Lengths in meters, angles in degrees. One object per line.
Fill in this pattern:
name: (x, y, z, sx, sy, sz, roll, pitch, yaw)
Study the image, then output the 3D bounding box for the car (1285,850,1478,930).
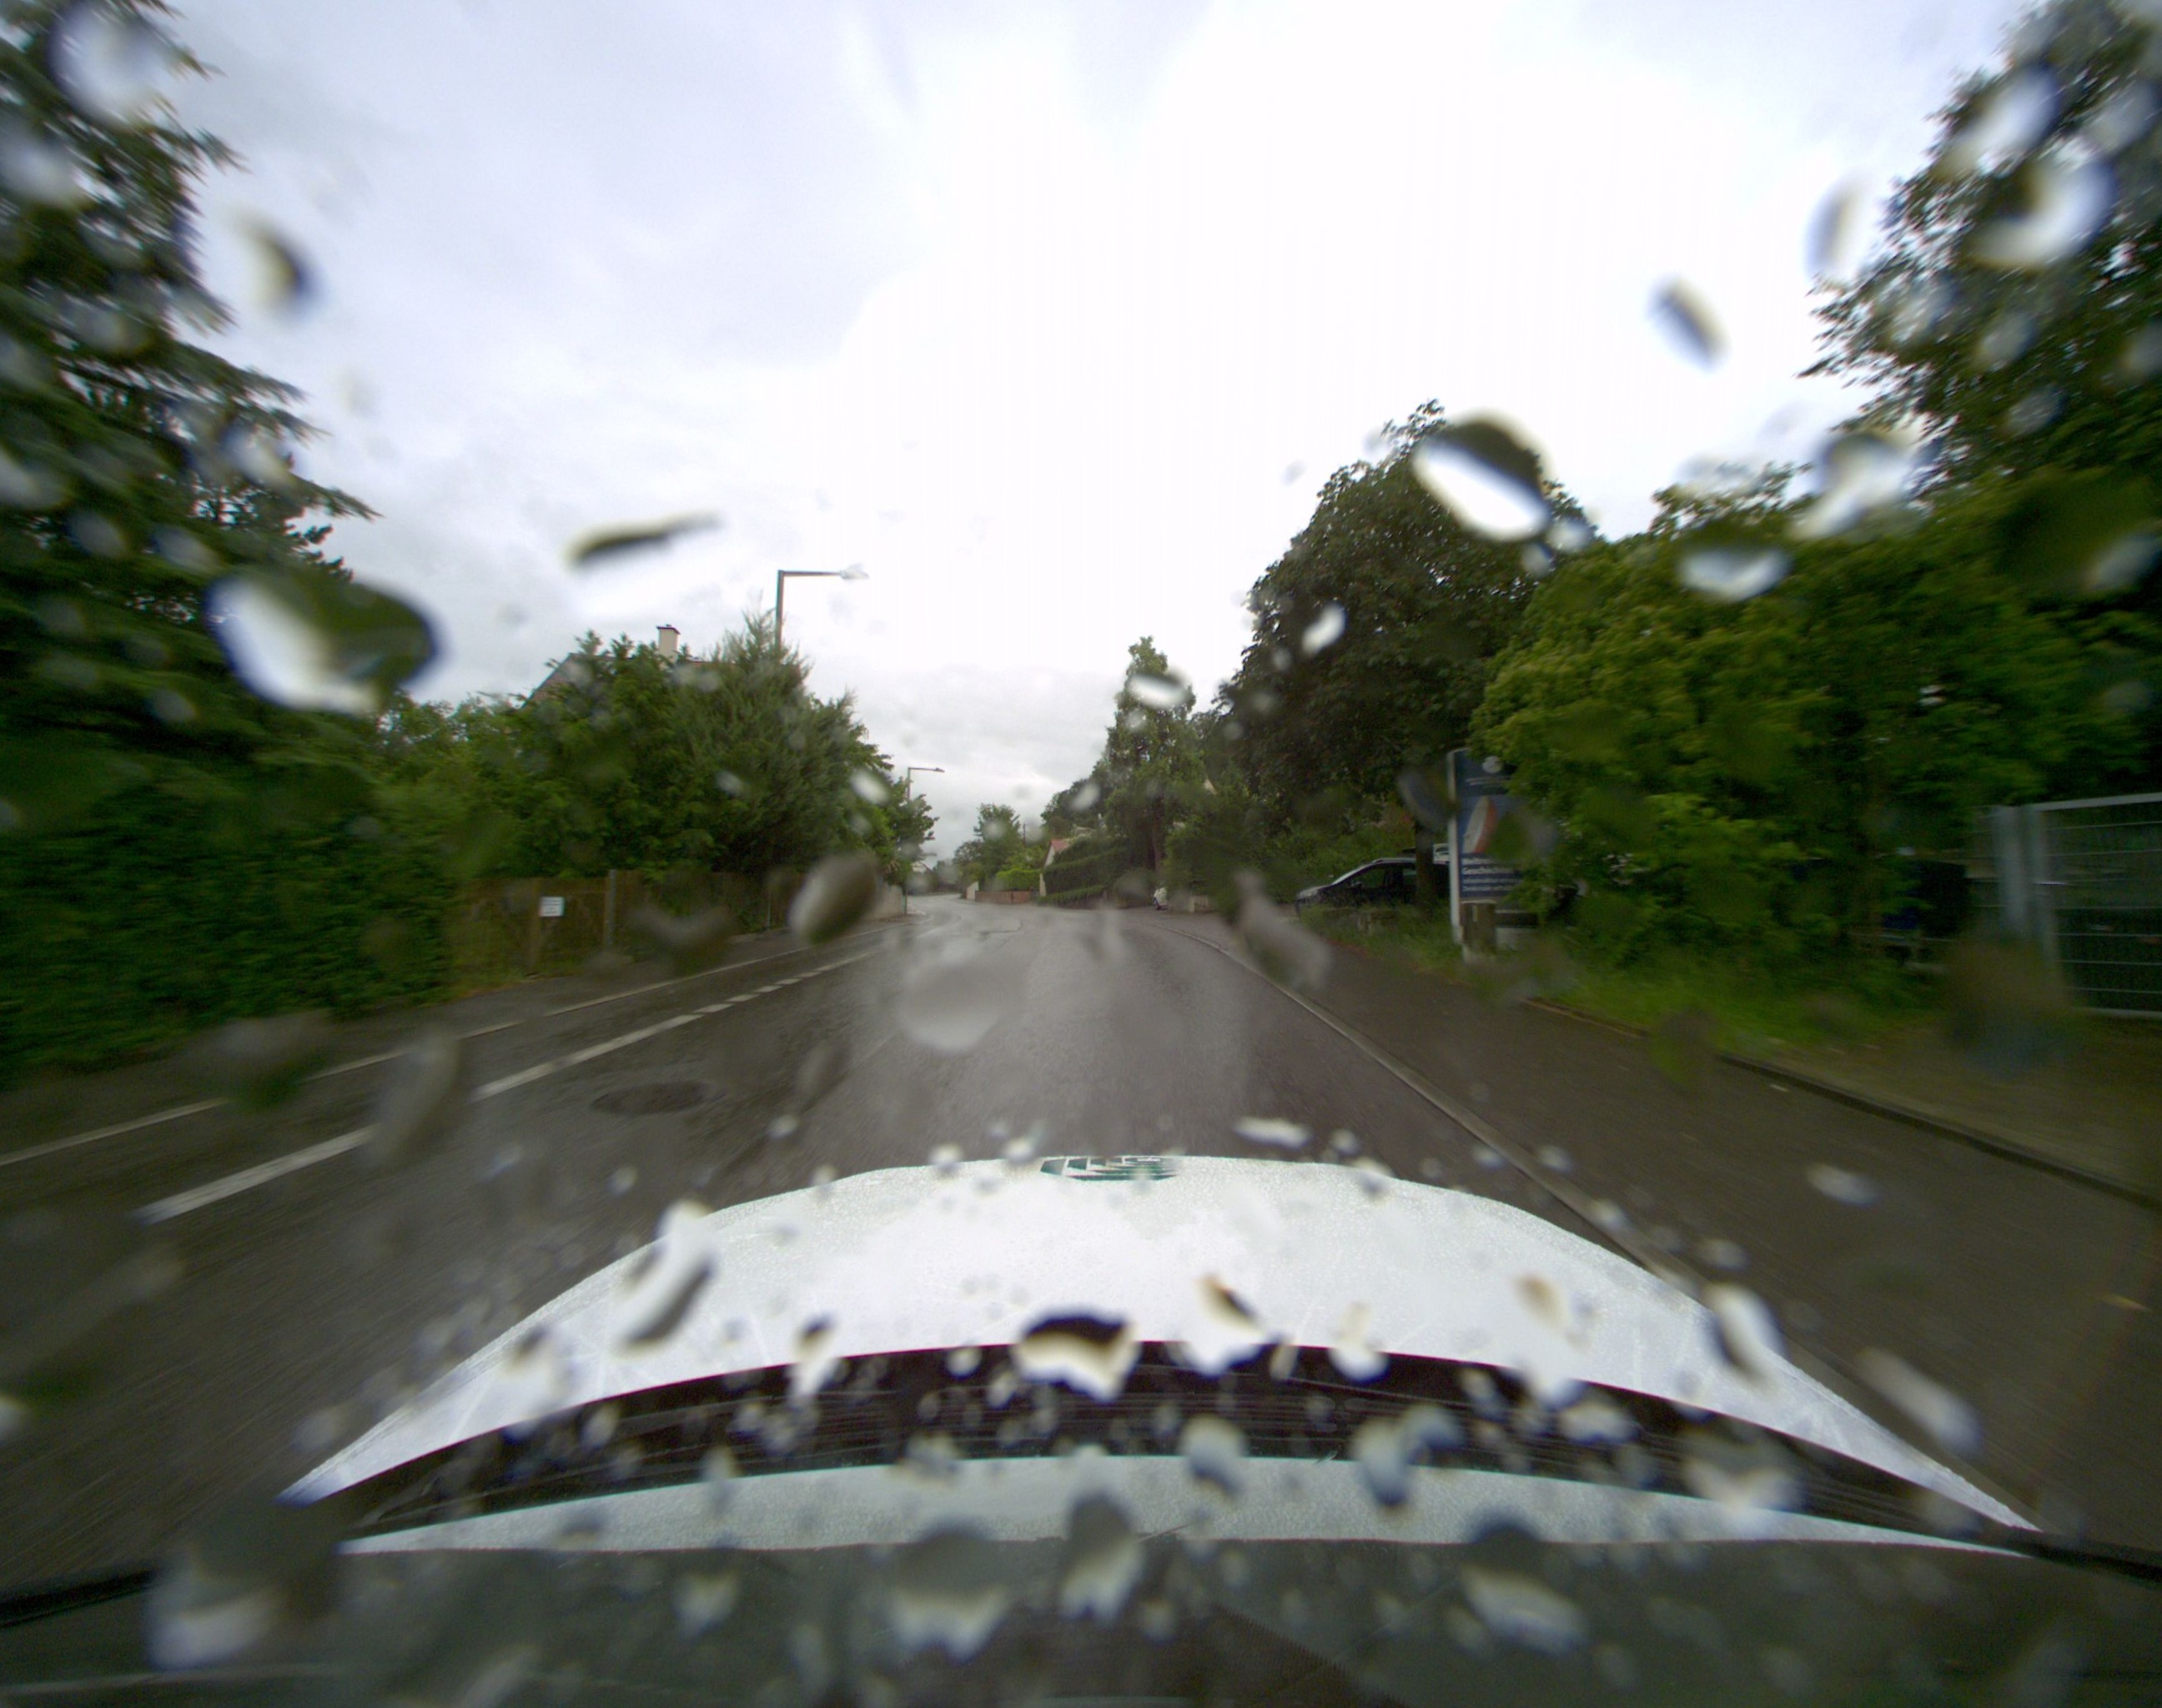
car: (7.298, 0.878, 20.208, 4.301, 1.717, 1.734, 2, -3, 13)

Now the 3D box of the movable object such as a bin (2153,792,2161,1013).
movable object such as a bin: (5.971, 0.437, 3.841, 1.249, 1.497, 0.973, 0, -1, -32)

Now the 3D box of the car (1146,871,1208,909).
car: (4.399, 1.659, 37.744, 1.534, 1.535, 3.826, -4, -1, -14)

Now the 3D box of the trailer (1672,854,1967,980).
trailer: (12.196, 0.953, 13.680, 1.767, 1.823, 3.256, 2, -1, -24)
